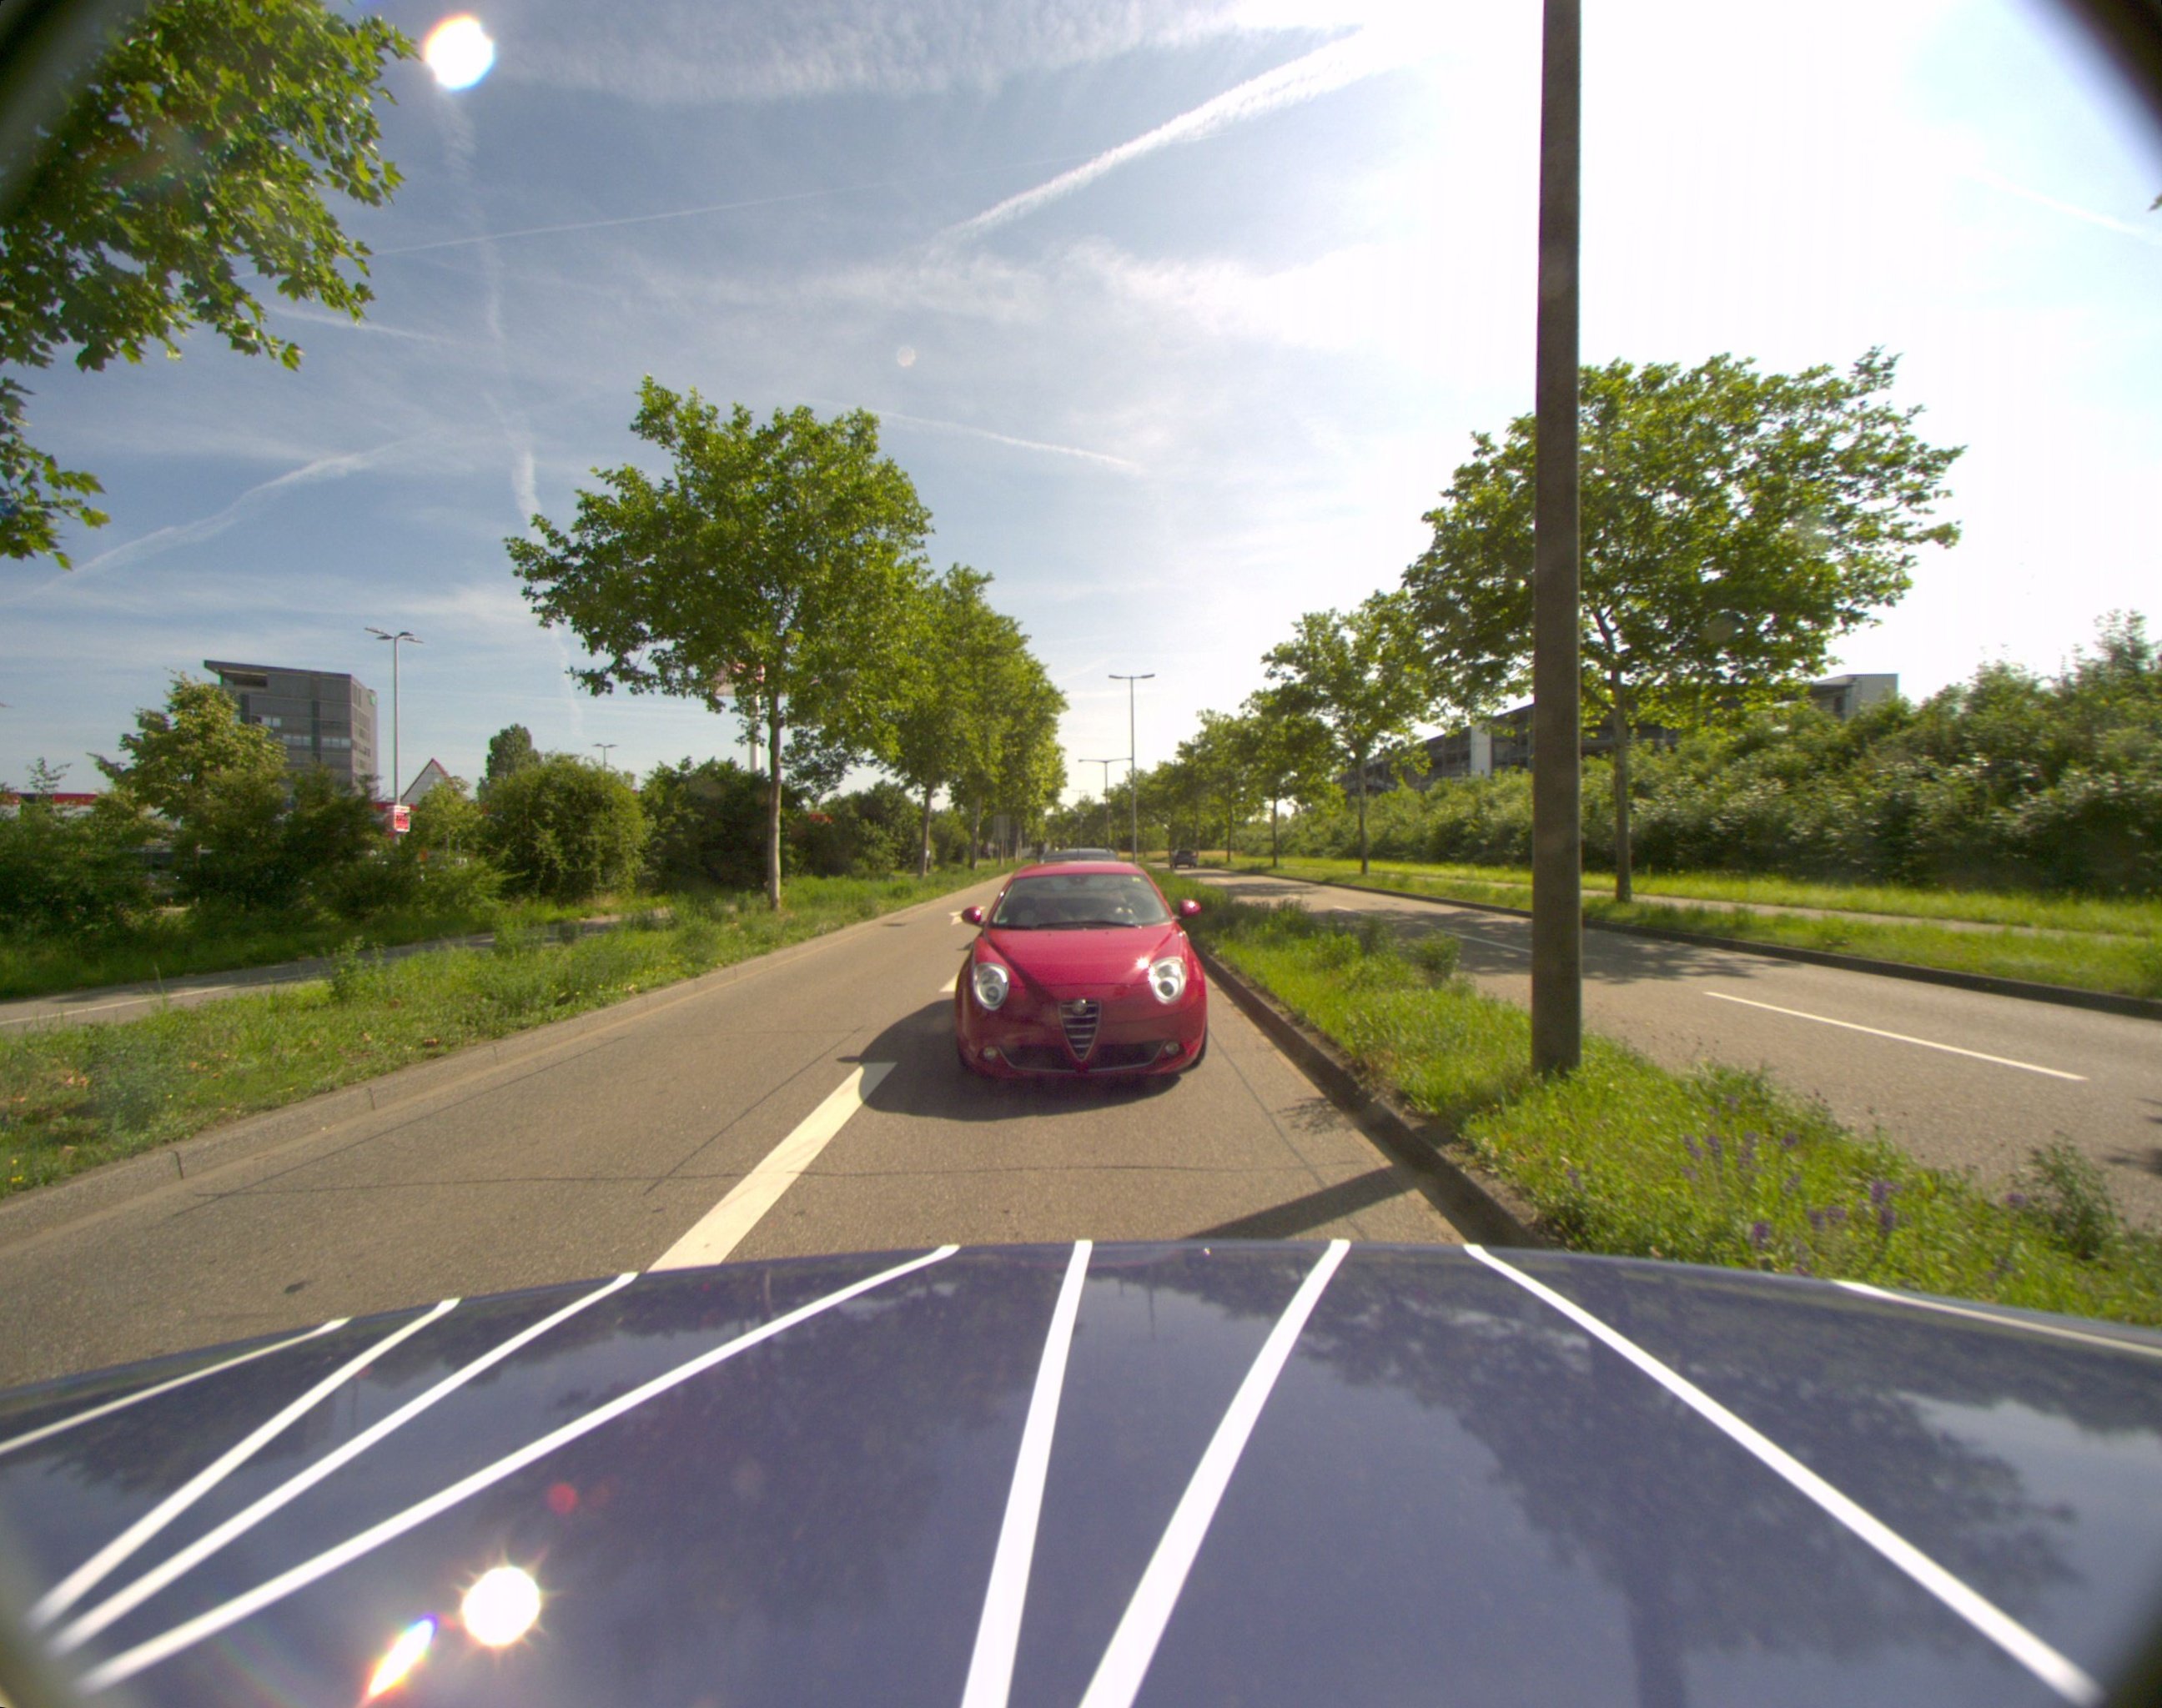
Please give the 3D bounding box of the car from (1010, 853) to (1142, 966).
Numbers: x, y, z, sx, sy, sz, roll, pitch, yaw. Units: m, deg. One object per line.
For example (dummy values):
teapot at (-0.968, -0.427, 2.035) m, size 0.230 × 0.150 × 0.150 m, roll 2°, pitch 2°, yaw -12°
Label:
car at (-0.040, 0.799, 12.918) m, size 1.874 × 1.536 × 4.081 m, roll -1°, pitch 1°, yaw 1°

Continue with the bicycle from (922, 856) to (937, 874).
bicycle at (-10.696, 0.779, 53.669) m, size 0.687 × 1.230 × 1.934 m, roll 0°, pitch 1°, yaw 1°

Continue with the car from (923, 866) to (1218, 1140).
car at (-0.032, 0.899, 6.364) m, size 1.658 × 1.430 × 3.907 m, roll -2°, pitch 1°, yaw 1°

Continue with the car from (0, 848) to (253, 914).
car at (-25.059, 0.628, 20.170) m, size 3.869 × 1.576 × 1.844 m, roll -1°, pitch 1°, yaw -38°

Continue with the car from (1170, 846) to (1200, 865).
car at (8.368, 0.103, 61.416) m, size 1.868 × 1.459 × 3.936 m, roll -1°, pitch 1°, yaw 0°

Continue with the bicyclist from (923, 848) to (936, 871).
bicyclist at (-10.699, 0.386, 53.691) m, size 0.687 × 1.622 × 1.002 m, roll 0°, pitch 1°, yaw 1°

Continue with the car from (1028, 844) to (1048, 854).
car at (-8.801, -1.111, 156.337) m, size 2.003 × 2.002 × 4.686 m, roll -1°, pitch 1°, yaw -32°

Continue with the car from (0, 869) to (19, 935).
car at (-22.777, 0.955, 14.008) m, size 3.563 × 1.292 × 1.766 m, roll 0°, pitch 1°, yaw -6°
